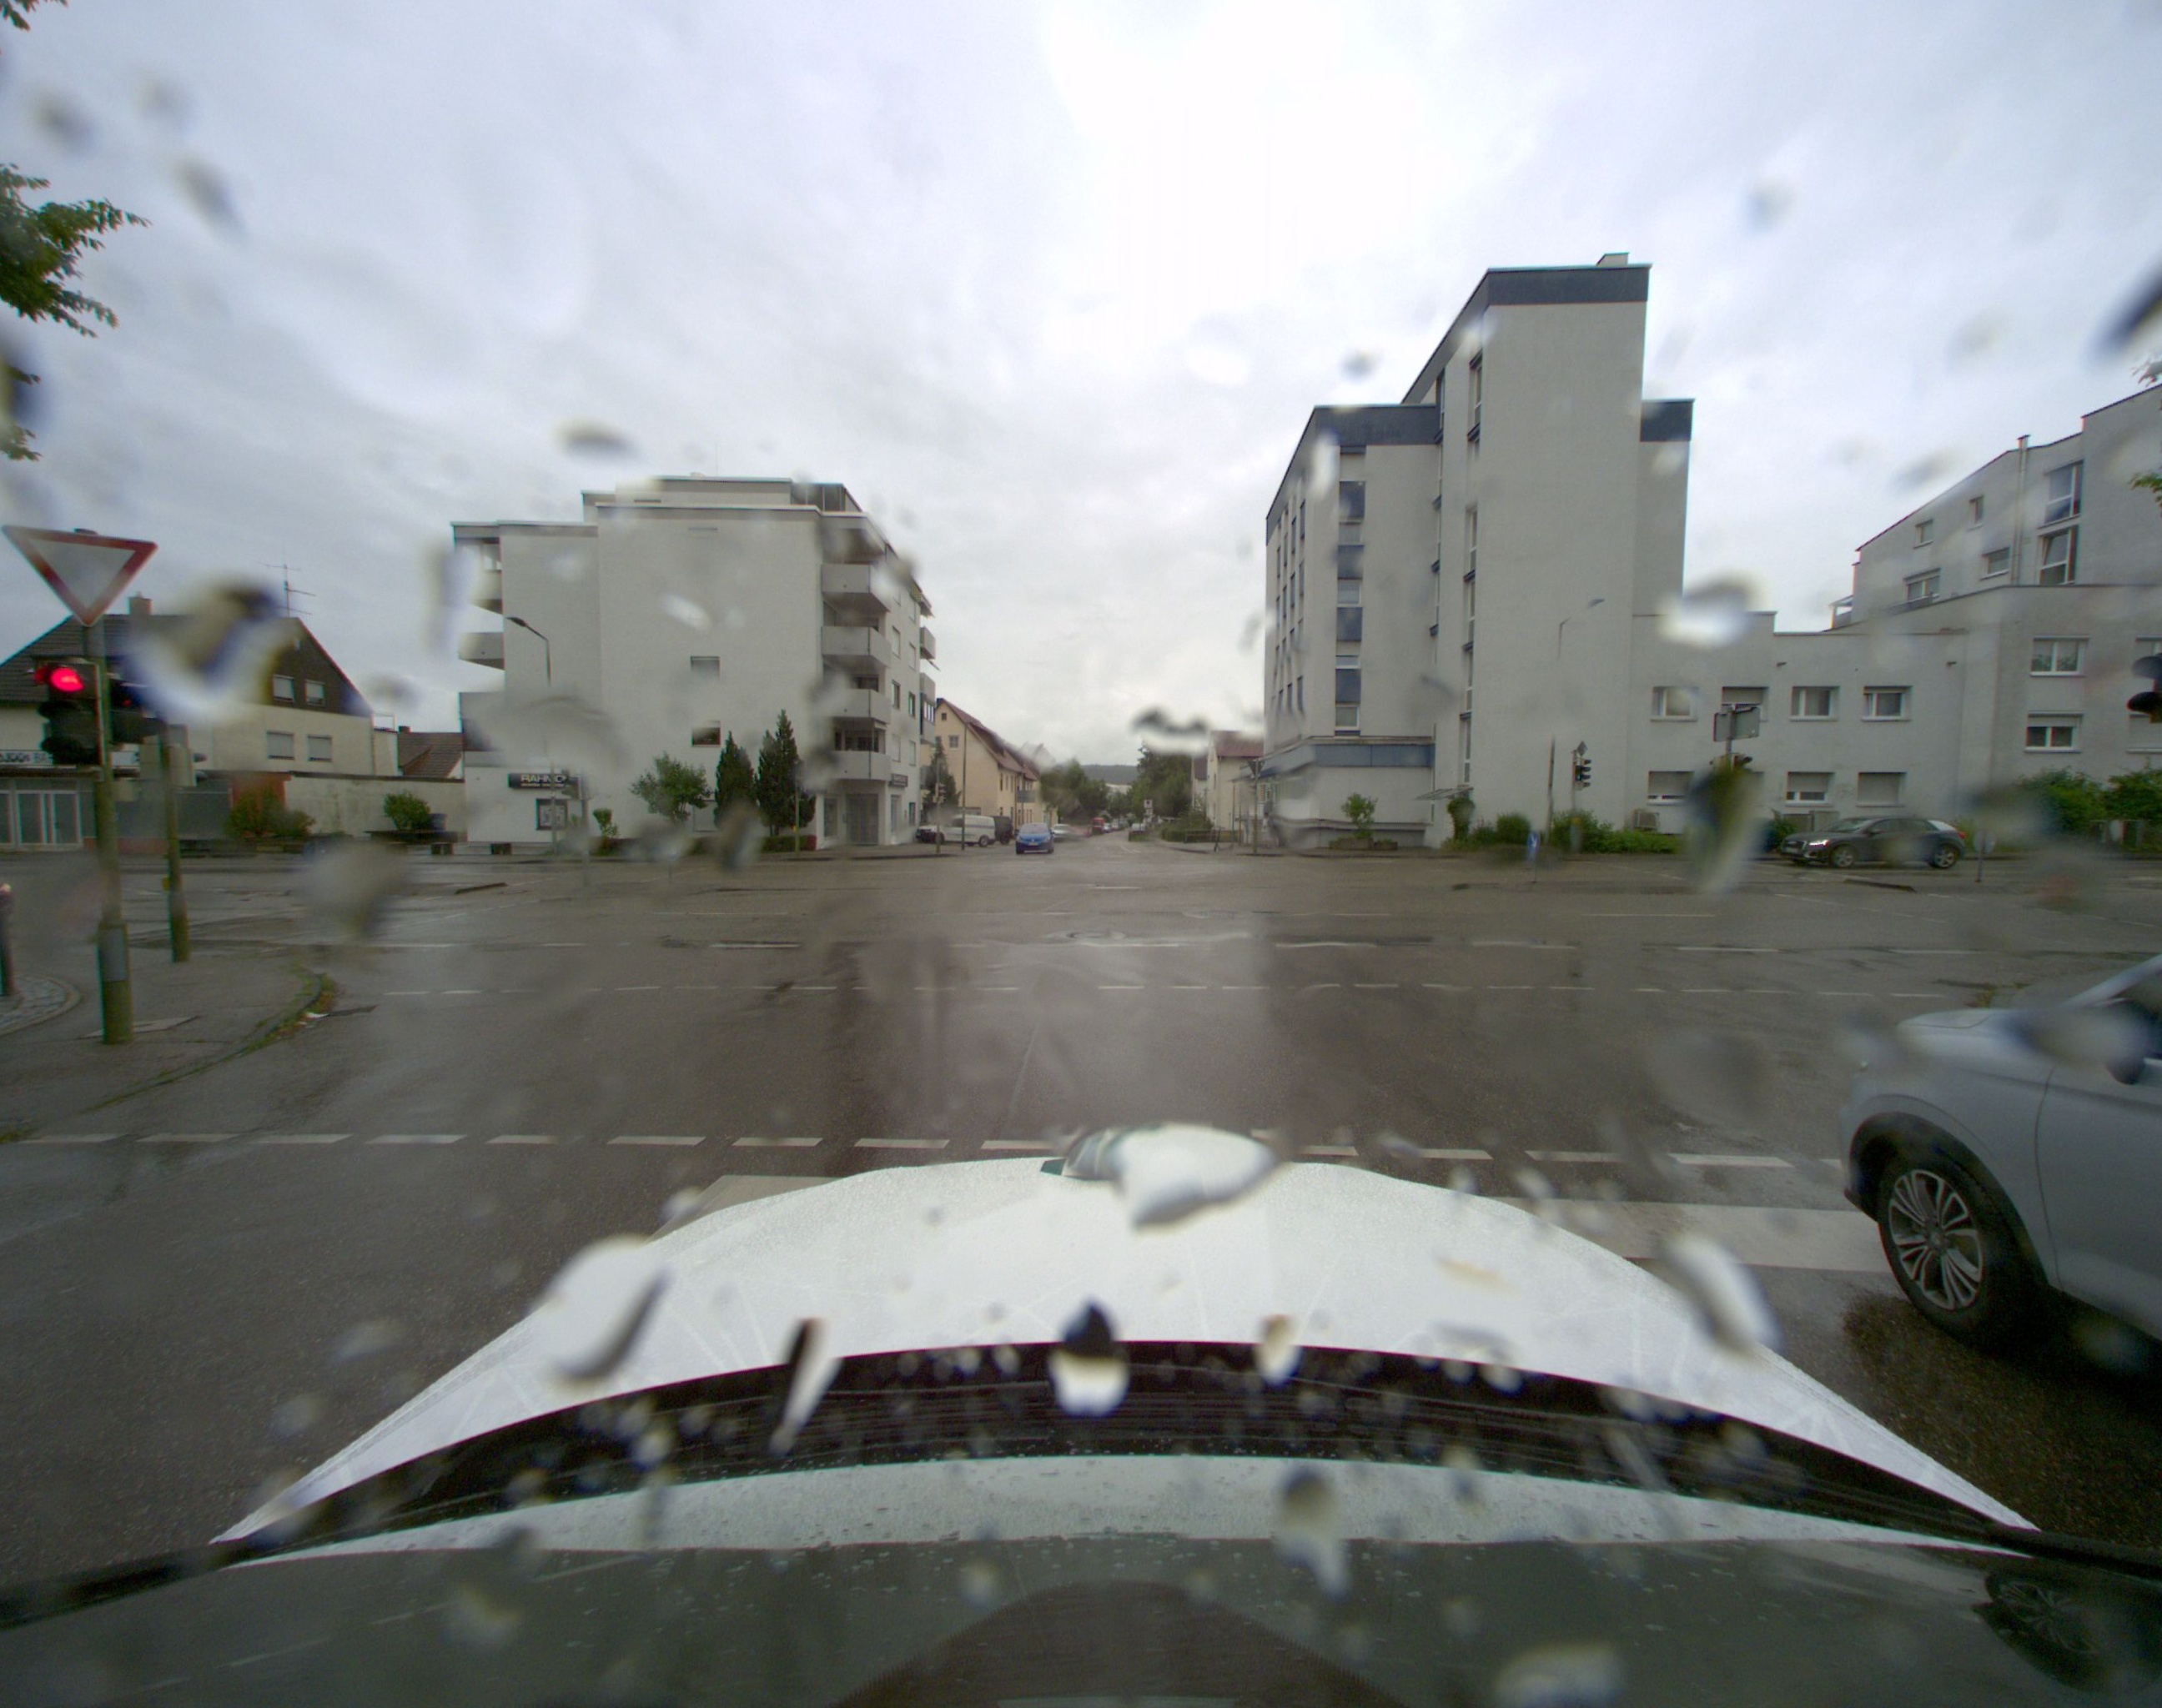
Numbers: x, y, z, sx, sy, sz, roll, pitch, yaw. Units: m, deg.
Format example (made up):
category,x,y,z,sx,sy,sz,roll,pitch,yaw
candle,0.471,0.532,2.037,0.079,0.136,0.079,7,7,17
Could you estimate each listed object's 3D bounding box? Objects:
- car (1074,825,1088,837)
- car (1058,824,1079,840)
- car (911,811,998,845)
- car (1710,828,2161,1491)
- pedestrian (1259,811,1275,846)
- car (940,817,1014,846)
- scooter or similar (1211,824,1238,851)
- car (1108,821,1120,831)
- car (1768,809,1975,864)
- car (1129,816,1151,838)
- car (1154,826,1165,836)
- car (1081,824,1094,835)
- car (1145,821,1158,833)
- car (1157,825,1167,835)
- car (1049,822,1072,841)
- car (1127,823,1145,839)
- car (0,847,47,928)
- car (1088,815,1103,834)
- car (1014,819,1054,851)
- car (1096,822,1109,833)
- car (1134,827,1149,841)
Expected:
category,x,y,z,sx,sy,sz,roll,pitch,yaw
car,-0.048,-2.997,104.640,1.762,1.518,3.999,-1,2,-1
car,-1.202,-2.117,79.630,1.760,1.518,4.197,-1,2,2
car,-7.417,-1.471,47.947,4.751,1.778,1.753,2,-1,-37
car,3.368,0.732,1.687,1.678,1.554,3.919,-1,2,10
pedestrian,9.029,-1.238,39.500,0.652,1.652,0.646,0,-1,2
car,-6.997,-1.562,55.032,4.644,1.888,1.941,-2,2,-37
scooter or similar,6.770,-0.774,38.557,1.058,1.227,0.799,0,-1,-8
car,6.284,-5.387,154.804,1.982,1.706,4.010,0,-1,9
car,23.253,-0.522,24.122,4.110,1.485,1.748,-1,4,10
car,5.908,-2.685,81.545,1.983,2.014,4.008,0,-1,7
car,15.627,-4.597,161.776,1.983,2.013,4.009,-1,1,7
car,0.877,-3.405,112.427,1.762,1.518,3.999,-1,2,-1
car,11.891,-4.541,137.222,1.983,2.013,4.009,-1,1,7
car,16.916,-4.926,170.257,1.983,2.013,4.009,-1,1,7
car,-1.670,-1.847,68.094,1.761,1.523,4.000,-1,2,0
car,7.048,-2.959,103.598,1.983,2.013,4.009,-1,1,7
car,-22.893,0.703,15.500,4.074,1.505,1.783,0,6,2
car,2.275,-4.576,127.476,2.208,2.768,5.728,-1,1,2
car,-2.238,-0.904,39.893,1.762,1.445,3.998,0,-1,-1
car,3.683,-4.541,138.934,1.983,1.684,4.008,0,-1,7
car,8.884,-2.926,118.805,1.983,2.013,4.009,-1,1,7
